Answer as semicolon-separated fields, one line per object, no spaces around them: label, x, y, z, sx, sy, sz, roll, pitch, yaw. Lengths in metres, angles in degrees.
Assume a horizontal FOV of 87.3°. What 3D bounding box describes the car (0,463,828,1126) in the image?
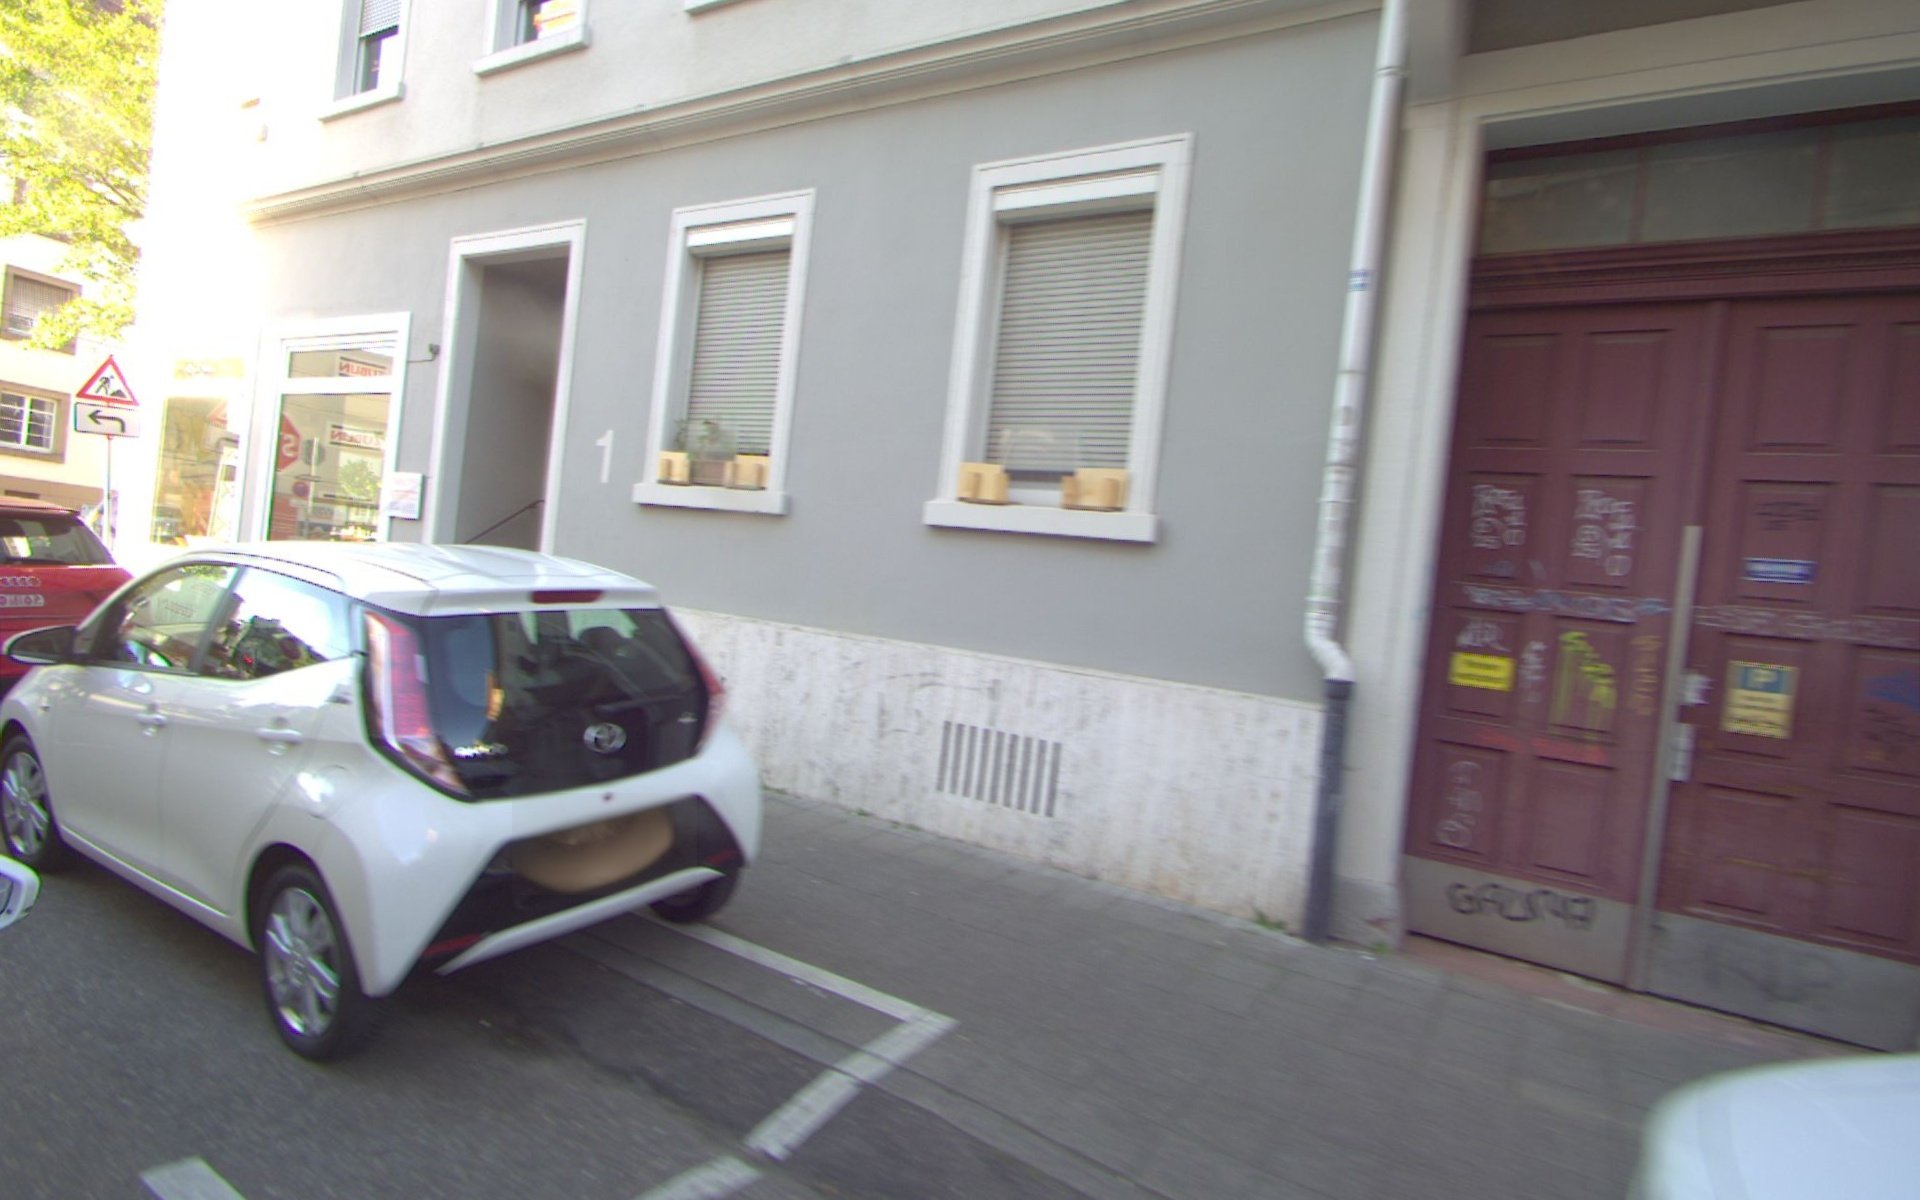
car;-2.625;0.436;4.230;3.724;1.605;1.640;7;-1;30

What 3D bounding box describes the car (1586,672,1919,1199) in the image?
car;2.890;1.117;0.618;4.119;1.528;1.682;7;-1;31

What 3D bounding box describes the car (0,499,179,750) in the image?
car;-7.486;-0.044;7.103;3.888;1.520;1.649;7;-1;30
